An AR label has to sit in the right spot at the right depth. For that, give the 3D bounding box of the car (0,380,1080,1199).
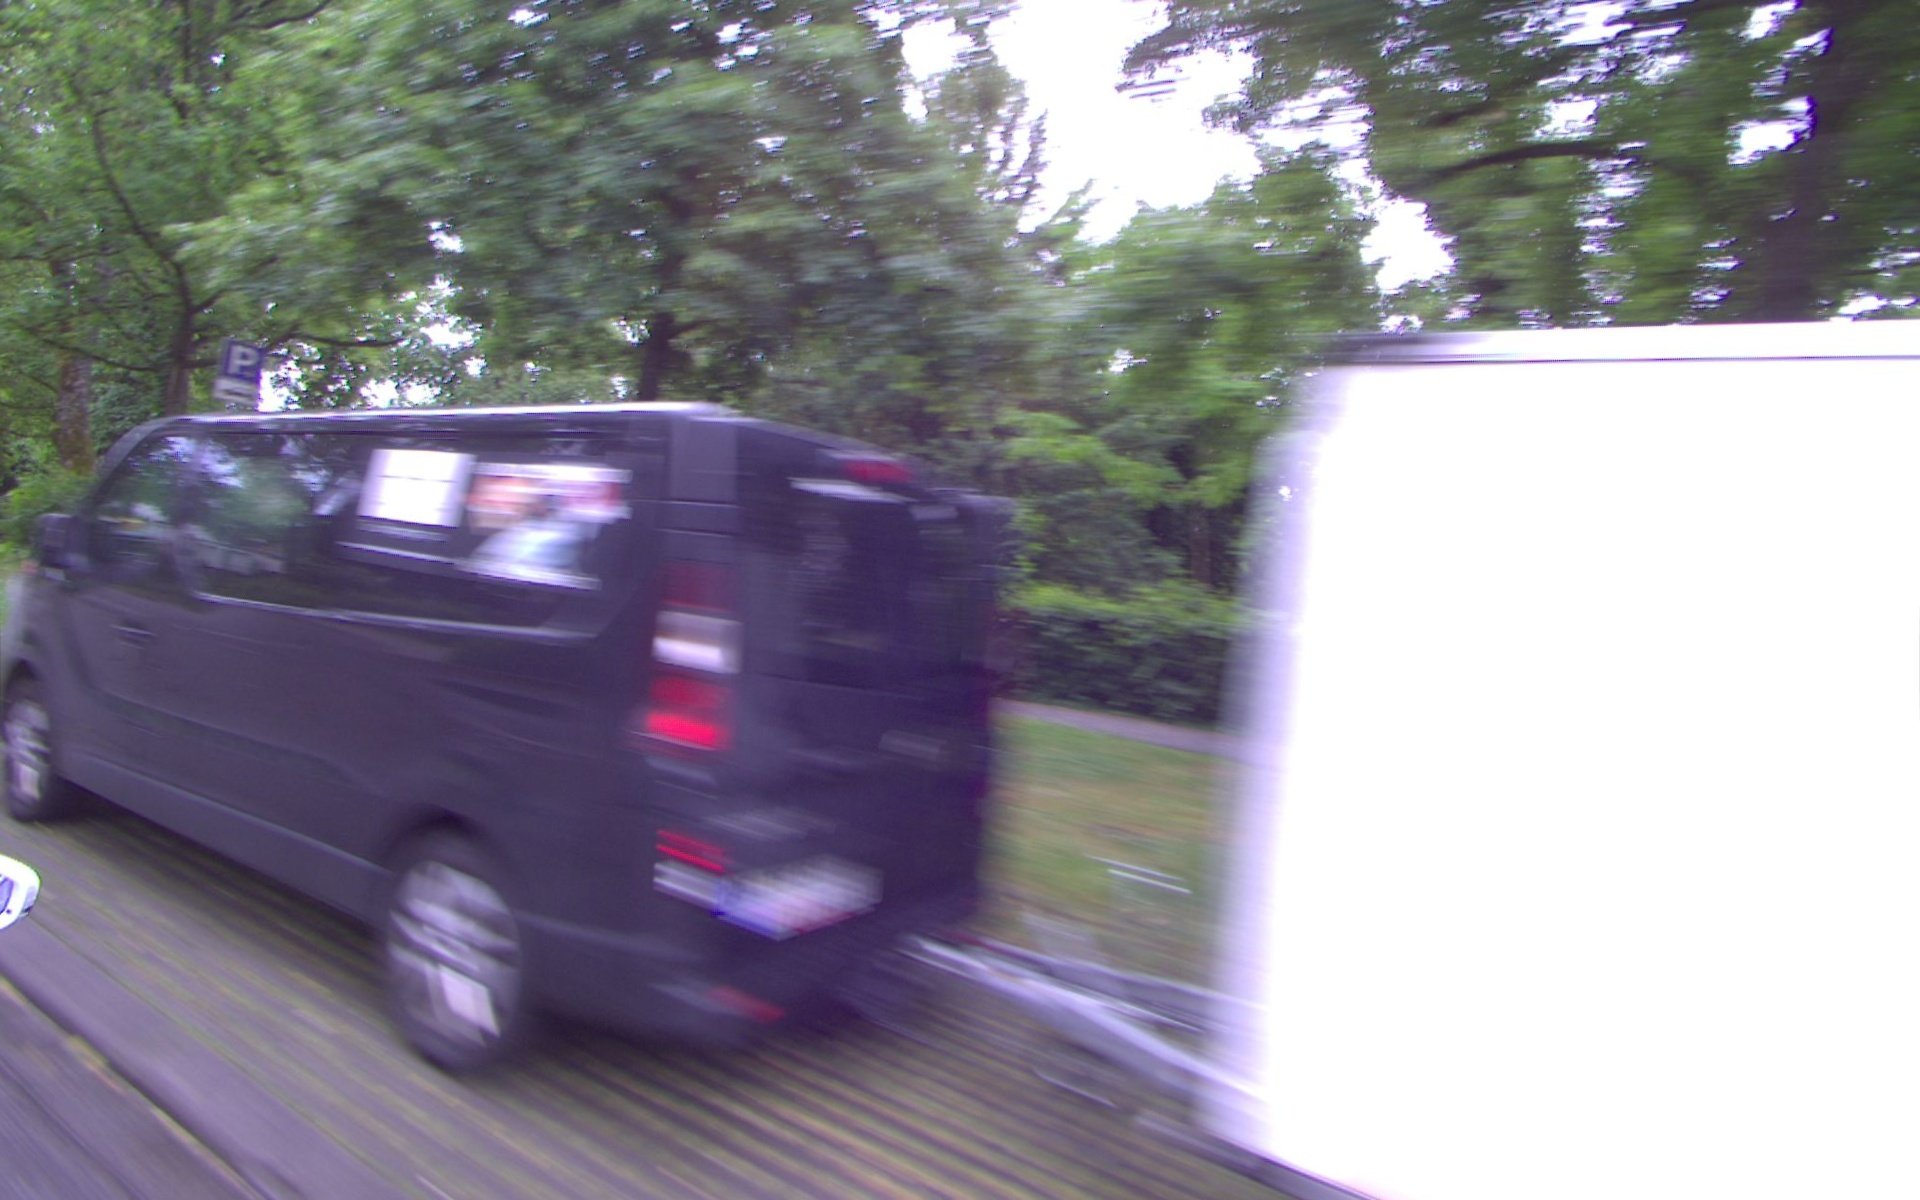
[{"bbox_3d":[-2.434,0.273,4.562,5.417,1.933,1.996,7,0,31],"label":"car"}]

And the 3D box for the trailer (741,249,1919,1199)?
[{"bbox_3d":[1.606,0.591,2.119,3.934,2.102,1.531,7,1,32],"label":"trailer"}]
